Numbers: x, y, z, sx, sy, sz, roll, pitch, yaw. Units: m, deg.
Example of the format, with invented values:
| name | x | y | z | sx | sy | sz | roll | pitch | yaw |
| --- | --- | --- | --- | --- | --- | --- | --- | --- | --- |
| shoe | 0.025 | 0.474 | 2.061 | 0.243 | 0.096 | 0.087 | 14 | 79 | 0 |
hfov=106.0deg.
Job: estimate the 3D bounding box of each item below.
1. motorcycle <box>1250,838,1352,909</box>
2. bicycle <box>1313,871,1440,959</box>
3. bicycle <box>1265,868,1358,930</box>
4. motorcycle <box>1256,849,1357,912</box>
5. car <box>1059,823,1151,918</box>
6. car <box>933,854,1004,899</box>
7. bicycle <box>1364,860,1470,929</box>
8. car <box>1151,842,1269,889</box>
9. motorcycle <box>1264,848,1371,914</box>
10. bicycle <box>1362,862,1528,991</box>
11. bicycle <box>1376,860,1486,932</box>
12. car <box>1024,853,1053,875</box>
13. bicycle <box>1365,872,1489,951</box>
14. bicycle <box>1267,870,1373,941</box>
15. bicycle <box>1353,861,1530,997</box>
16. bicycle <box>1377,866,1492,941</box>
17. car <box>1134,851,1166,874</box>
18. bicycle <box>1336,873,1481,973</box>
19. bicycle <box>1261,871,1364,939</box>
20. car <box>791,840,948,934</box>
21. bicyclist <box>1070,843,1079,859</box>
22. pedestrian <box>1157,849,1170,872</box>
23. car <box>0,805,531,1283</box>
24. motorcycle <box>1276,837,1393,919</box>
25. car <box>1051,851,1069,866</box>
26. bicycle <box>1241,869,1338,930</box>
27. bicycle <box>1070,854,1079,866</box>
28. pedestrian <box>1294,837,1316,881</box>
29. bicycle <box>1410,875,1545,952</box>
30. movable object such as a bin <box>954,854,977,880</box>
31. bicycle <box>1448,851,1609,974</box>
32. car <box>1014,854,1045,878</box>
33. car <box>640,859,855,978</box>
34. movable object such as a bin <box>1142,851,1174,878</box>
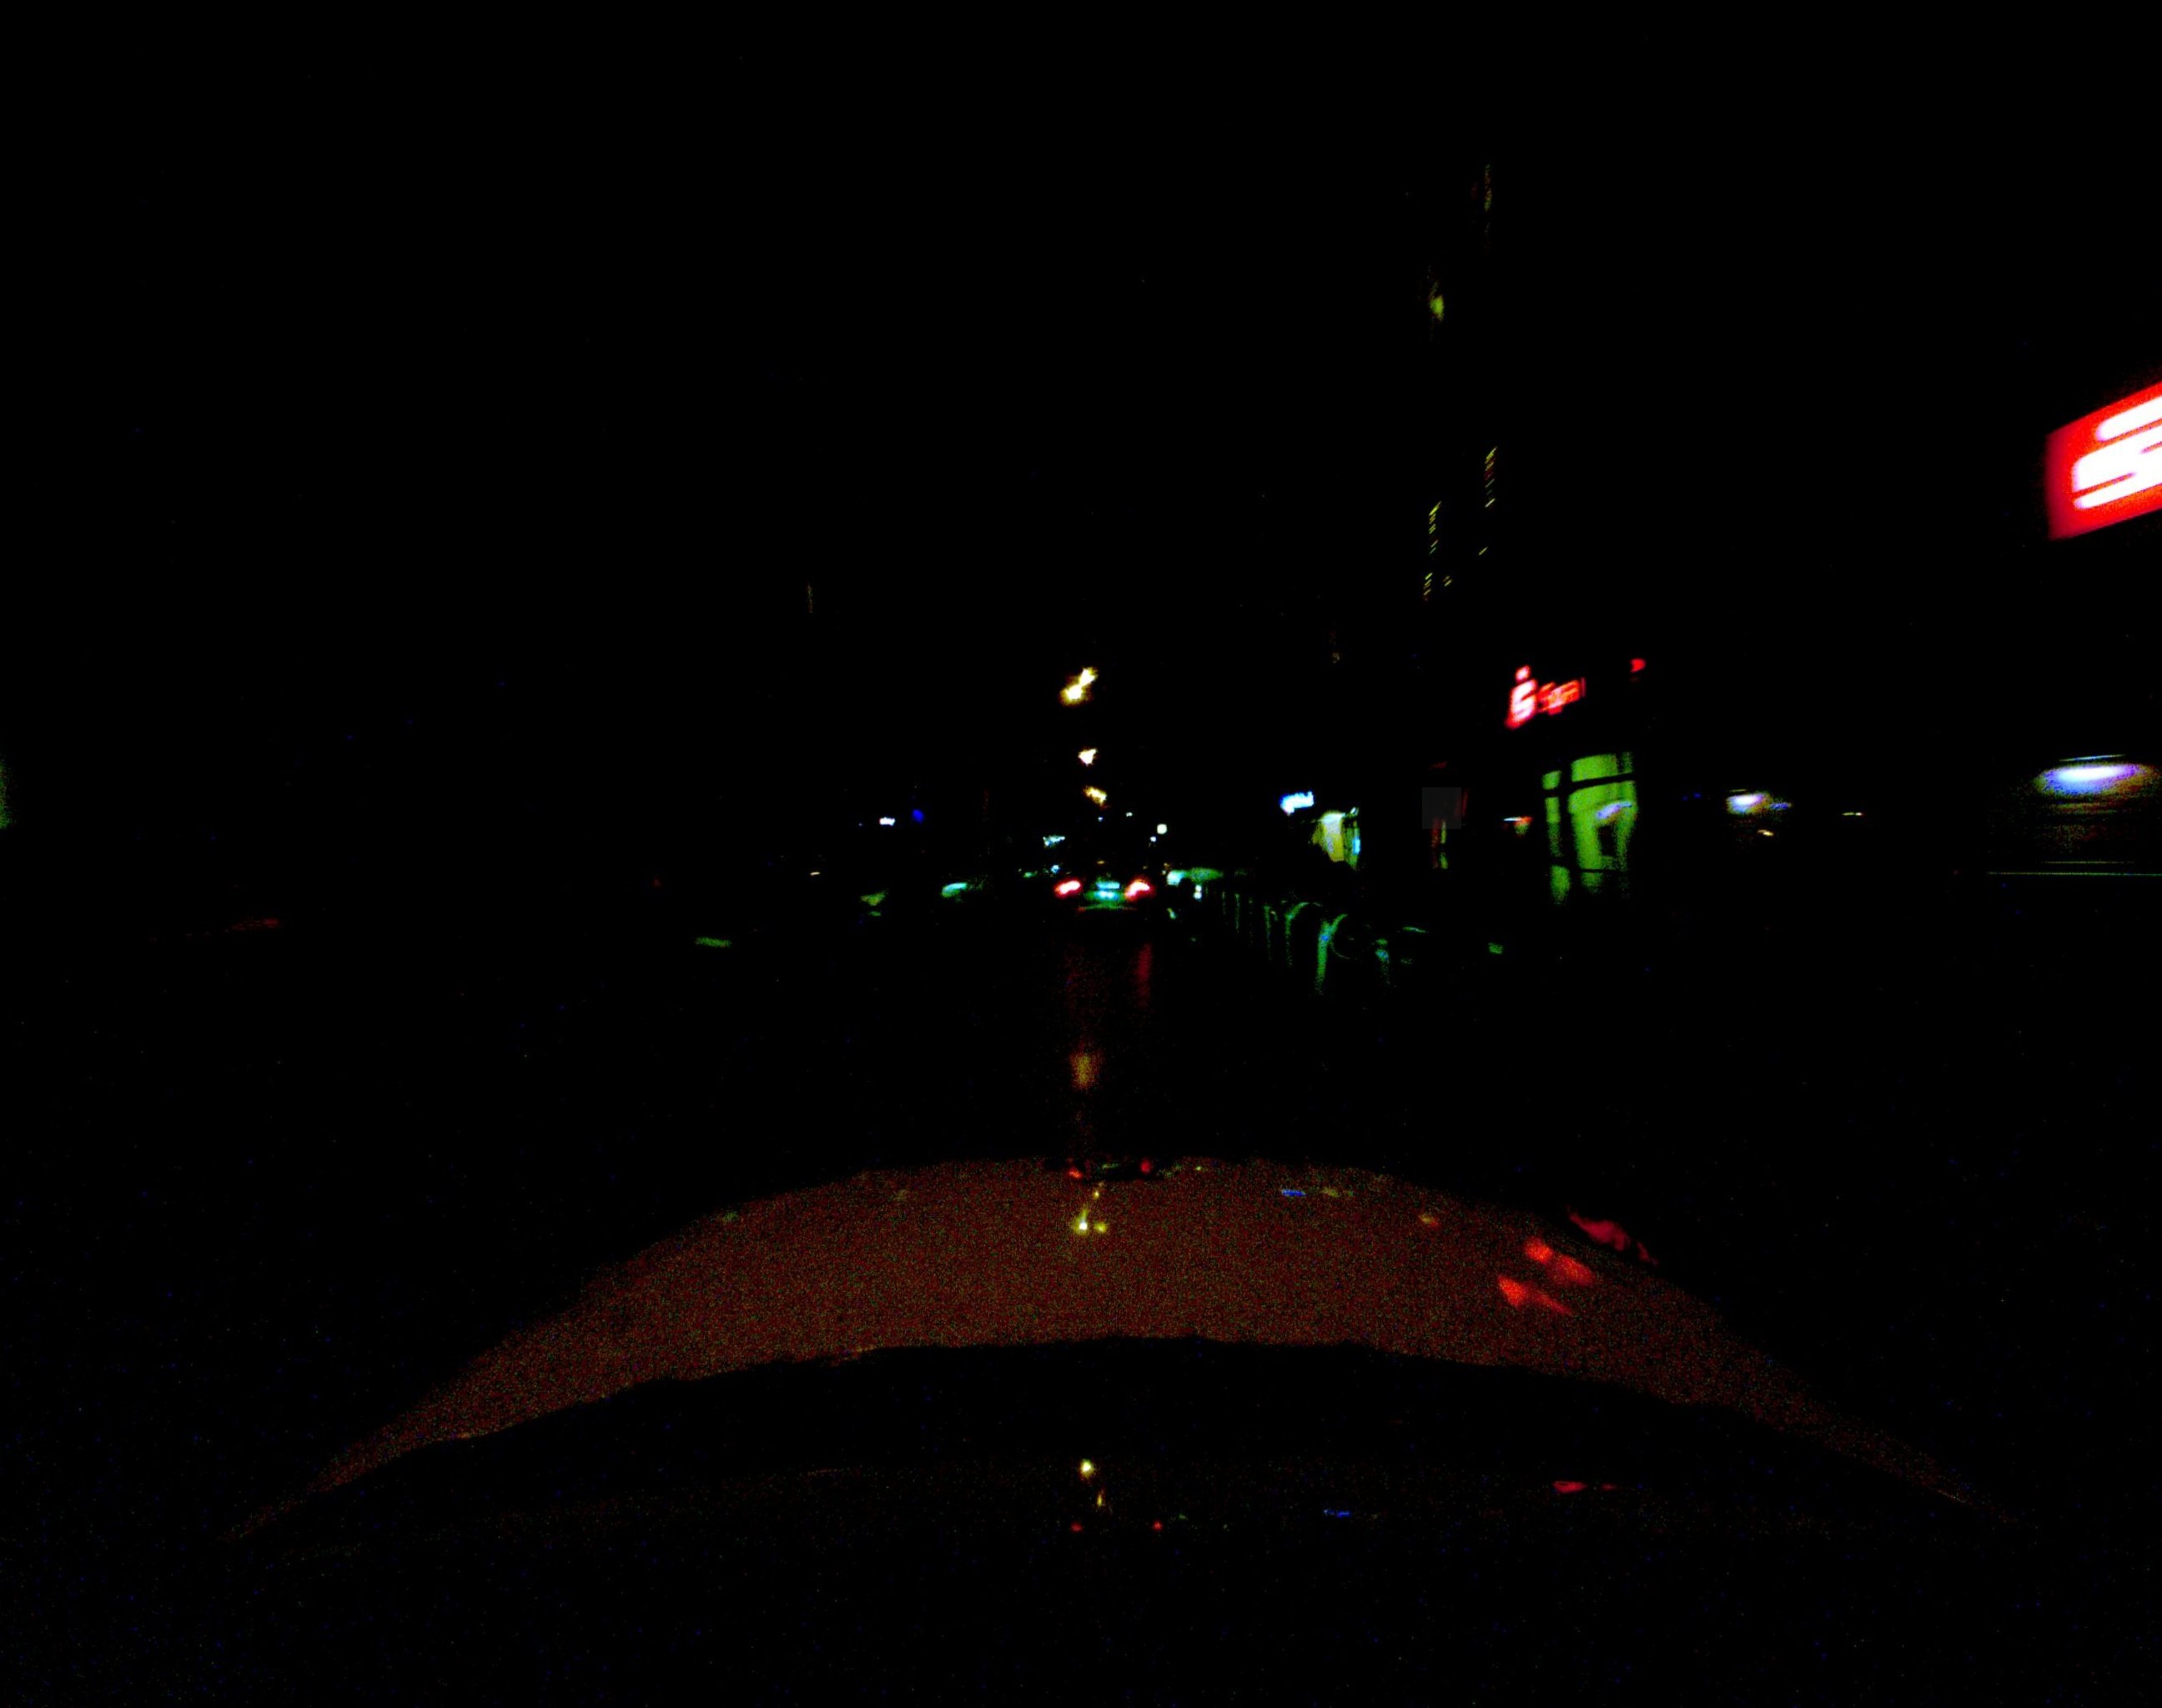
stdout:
| name | x | y | z | sx | sy | sz | roll | pitch | yaw |
| --- | --- | --- | --- | --- | --- | --- | --- | --- | --- |
| motorcycle | 5.631 | 0.487 | 20.954 | 2.280 | 1.588 | 0.867 | -5 | -1 | 1 |
| bicycle | 4.093 | 0.846 | 11.343 | 1.521 | 1.023 | 0.367 | -7 | -1 | 5 |
| bicycle | 4.226 | 0.828 | 14.980 | 1.520 | 0.952 | 0.367 | -7 | -1 | 9 |
| motorcycle | 5.512 | 0.635 | 20.012 | 2.165 | 1.318 | 0.867 | -5 | 0 | 1 |
| car | 0.625 | 0.351 | 20.154 | 1.988 | 2.049 | 4.697 | -1 | 0 | 2 |
| car | -4.170 | 0.804 | 30.939 | 1.760 | 1.483 | 4.775 | 2 | 0 | 3 |
| bicycle | 5.613 | 0.668 | 13.624 | 1.525 | 0.952 | 0.366 | -7 | -1 | -3 |
| car | 5.247 | 0.459 | 33.490 | 4.496 | 1.530 | 1.780 | -5 | 0 | 1 |
| motorcycle | 5.506 | 0.624 | 19.080 | 2.165 | 1.318 | 0.867 | -5 | 0 | 1 |
| bicycle | 3.961 | 0.774 | 8.907 | 1.524 | 1.202 | 0.366 | -7 | -1 | 0 |
| bicycle | 5.600 | 0.658 | 13.038 | 1.525 | 0.952 | 0.366 | -7 | -1 | -4 |
| car | -3.136 | 0.715 | 60.945 | 1.768 | 1.572 | 4.136 | -1 | 0 | 2 |
| bicycle | 4.978 | 0.827 | 11.773 | 1.521 | 0.952 | 0.367 | -7 | -1 | 5 |
| bicycle | 3.871 | 0.828 | 13.220 | 1.525 | 0.952 | 0.366 | -7 | -1 | -3 |
| bicycle | 3.722 | 0.768 | 8.461 | 1.522 | 1.202 | 0.367 | -7 | -1 | 4 |
| bicycle | 5.451 | 0.754 | 12.582 | 1.525 | 0.952 | 0.366 | -7 | -1 | -3 |
| car | 4.744 | 0.545 | 56.483 | 1.986 | 1.464 | 4.418 | -1 | 0 | 2 |
| bicycle | 4.018 | 0.839 | 10.038 | 1.524 | 1.023 | 0.366 | -7 | -1 | 0 |
| bicycle | 3.875 | 0.844 | 13.648 | 1.525 | 0.952 | 0.366 | -7 | -1 | -3 |
| car | -4.595 | 0.636 | 18.647 | 1.988 | 1.829 | 5.210 | -1 | 0 | 2 |
| bicyclist | -0.647 | -0.254 | 80.375 | 0.715 | 1.556 | 0.895 | -2 | 0 | 1 |
| pedestrian | 6.474 | 0.511 | 64.004 | 0.858 | 1.788 | 1.084 | -3 | 1 | 5 |
| car | -5.080 | 0.741 | 3.549 | 1.895 | 1.829 | 4.832 | -1 | 0 | 2 |
| motorcycle | 5.486 | 0.504 | 17.744 | 2.165 | 1.547 | 0.867 | -5 | -1 | 1 |
| car | -2.419 | 0.475 | 96.854 | 1.825 | 1.717 | 4.596 | -1 | 0 | 2 |
| bicycle | 3.962 | 0.859 | 15.540 | 1.660 | 0.952 | 0.367 | -7 | -1 | 9 |
| bicycle | -0.649 | 0.590 | 80.386 | 0.724 | 1.072 | 2.349 | -2 | 0 | 2 |
| pedestrian | 9.375 | 0.211 | 34.113 | 0.699 | 1.788 | 0.625 | -3 | 1 | 5 |
| bicycle | 5.275 | 0.790 | 10.866 | 1.521 | 0.833 | 0.326 | -7 | -1 | 5 |
| movable object such as a bin | -6.717 | 0.726 | 47.284 | 1.098 | 1.454 | 1.378 | -2 | 0 | 0 |
| bicycle | 5.128 | 0.658 | 9.366 | 1.524 | 1.202 | 0.366 | -7 | -1 | 0 |
| car | -3.331 | 0.767 | 53.574 | 1.665 | 1.491 | 3.723 | 0 | 0 | 2 |
| car | -4.827 | 0.848 | 12.370 | 1.563 | 1.460 | 3.722 | -1 | 0 | 2 |
| movable object such as a bin | 4.328 | 0.593 | 45.948 | 1.347 | 1.429 | 1.188 | -1 | 0 | -35 |
